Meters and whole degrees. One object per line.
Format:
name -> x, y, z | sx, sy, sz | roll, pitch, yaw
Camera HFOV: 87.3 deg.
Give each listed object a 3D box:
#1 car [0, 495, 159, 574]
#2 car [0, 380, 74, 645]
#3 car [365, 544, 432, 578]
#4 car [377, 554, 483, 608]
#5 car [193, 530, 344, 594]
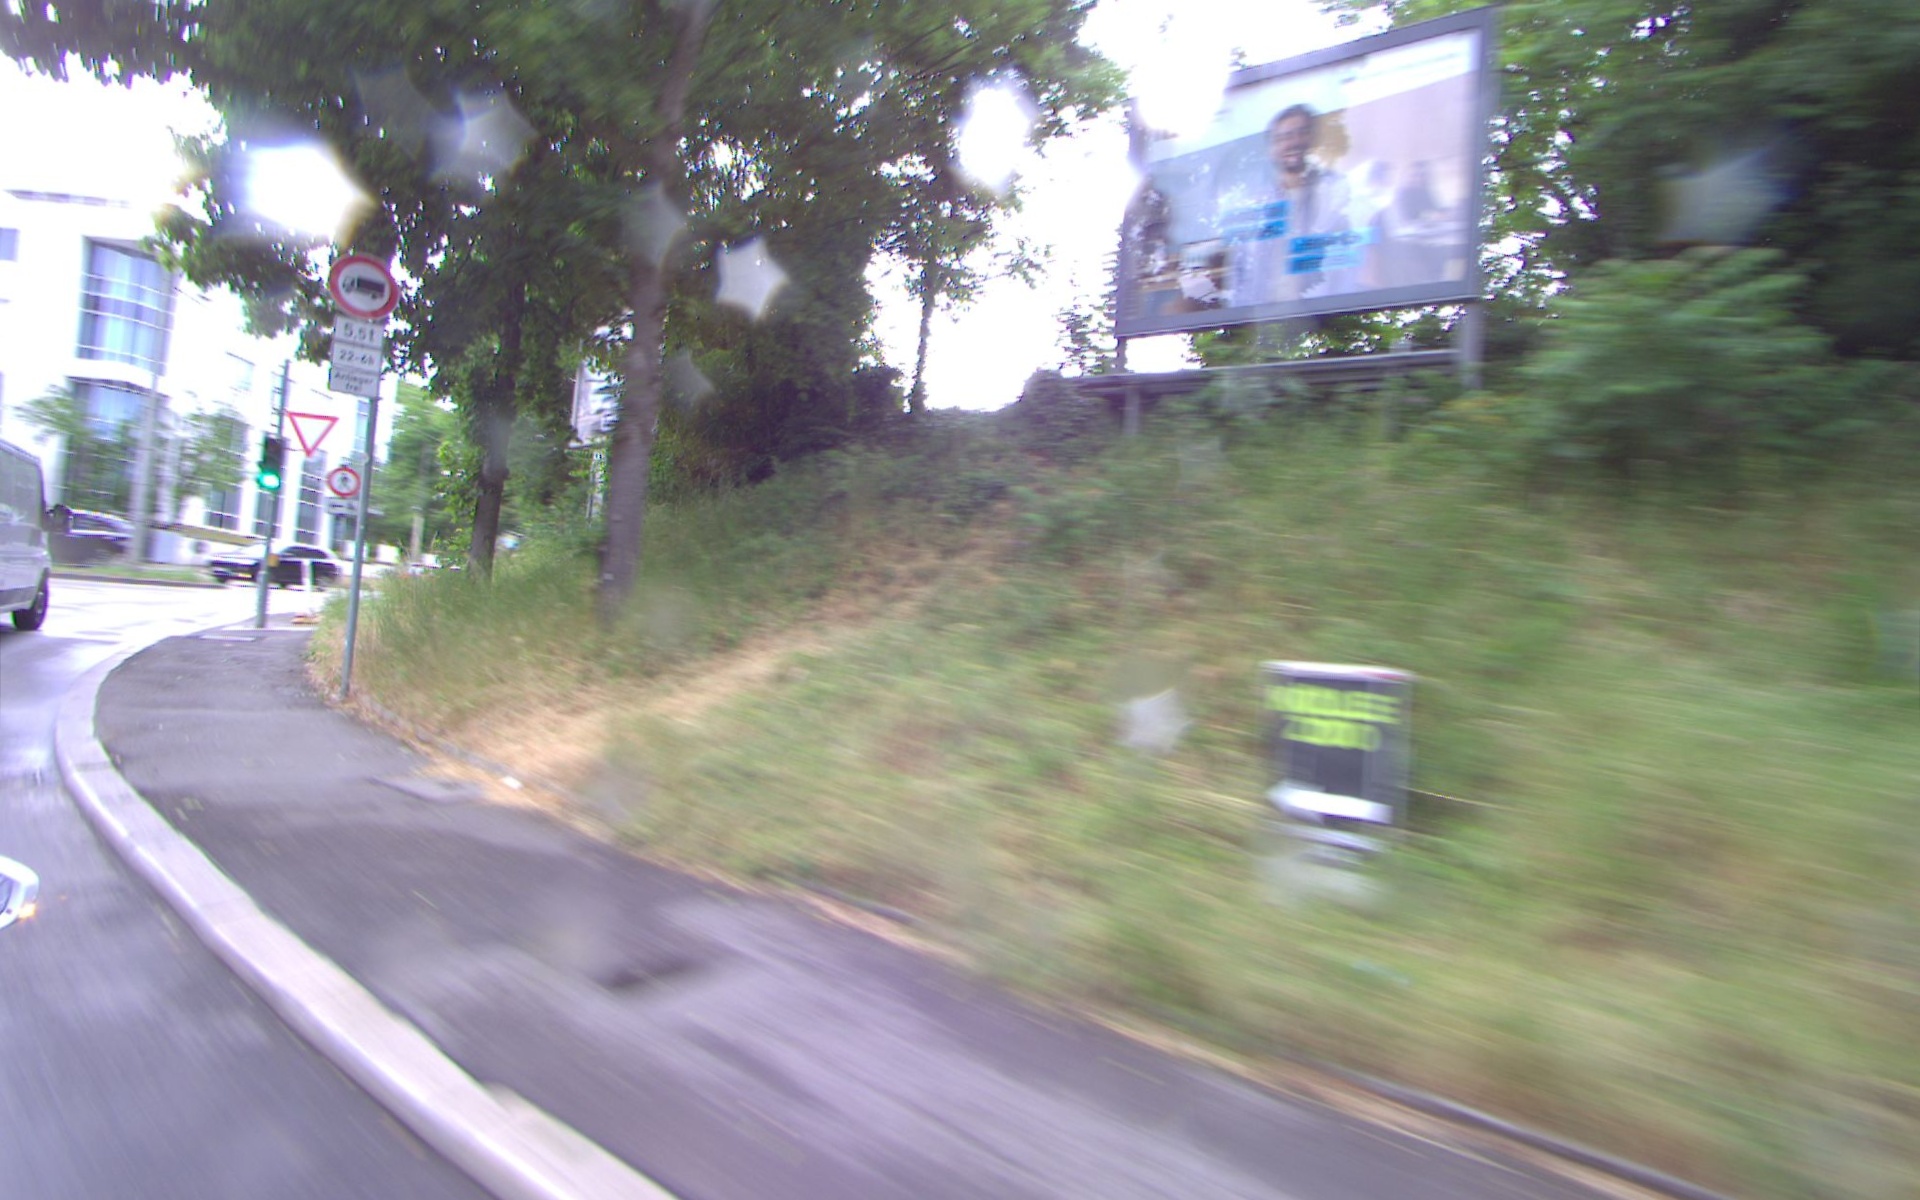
car -> -25.046, -1.793, 27.689 | 1.923, 1.717, 4.629 | 4, -2, 5
car -> -10.904, -0.973, 10.284 | 2.041, 2.545, 4.895 | 10, -2, -36
car -> -33.507, -2.313, 60.190 | 1.585, 1.743, 3.994 | 4, 0, 2
car -> -18.657, -0.620, 35.567 | 1.666, 1.441, 3.373 | 6, -3, 4
car -> -24.135, -1.273, 35.355 | 1.661, 1.622, 4.736 | 4, -3, 4
